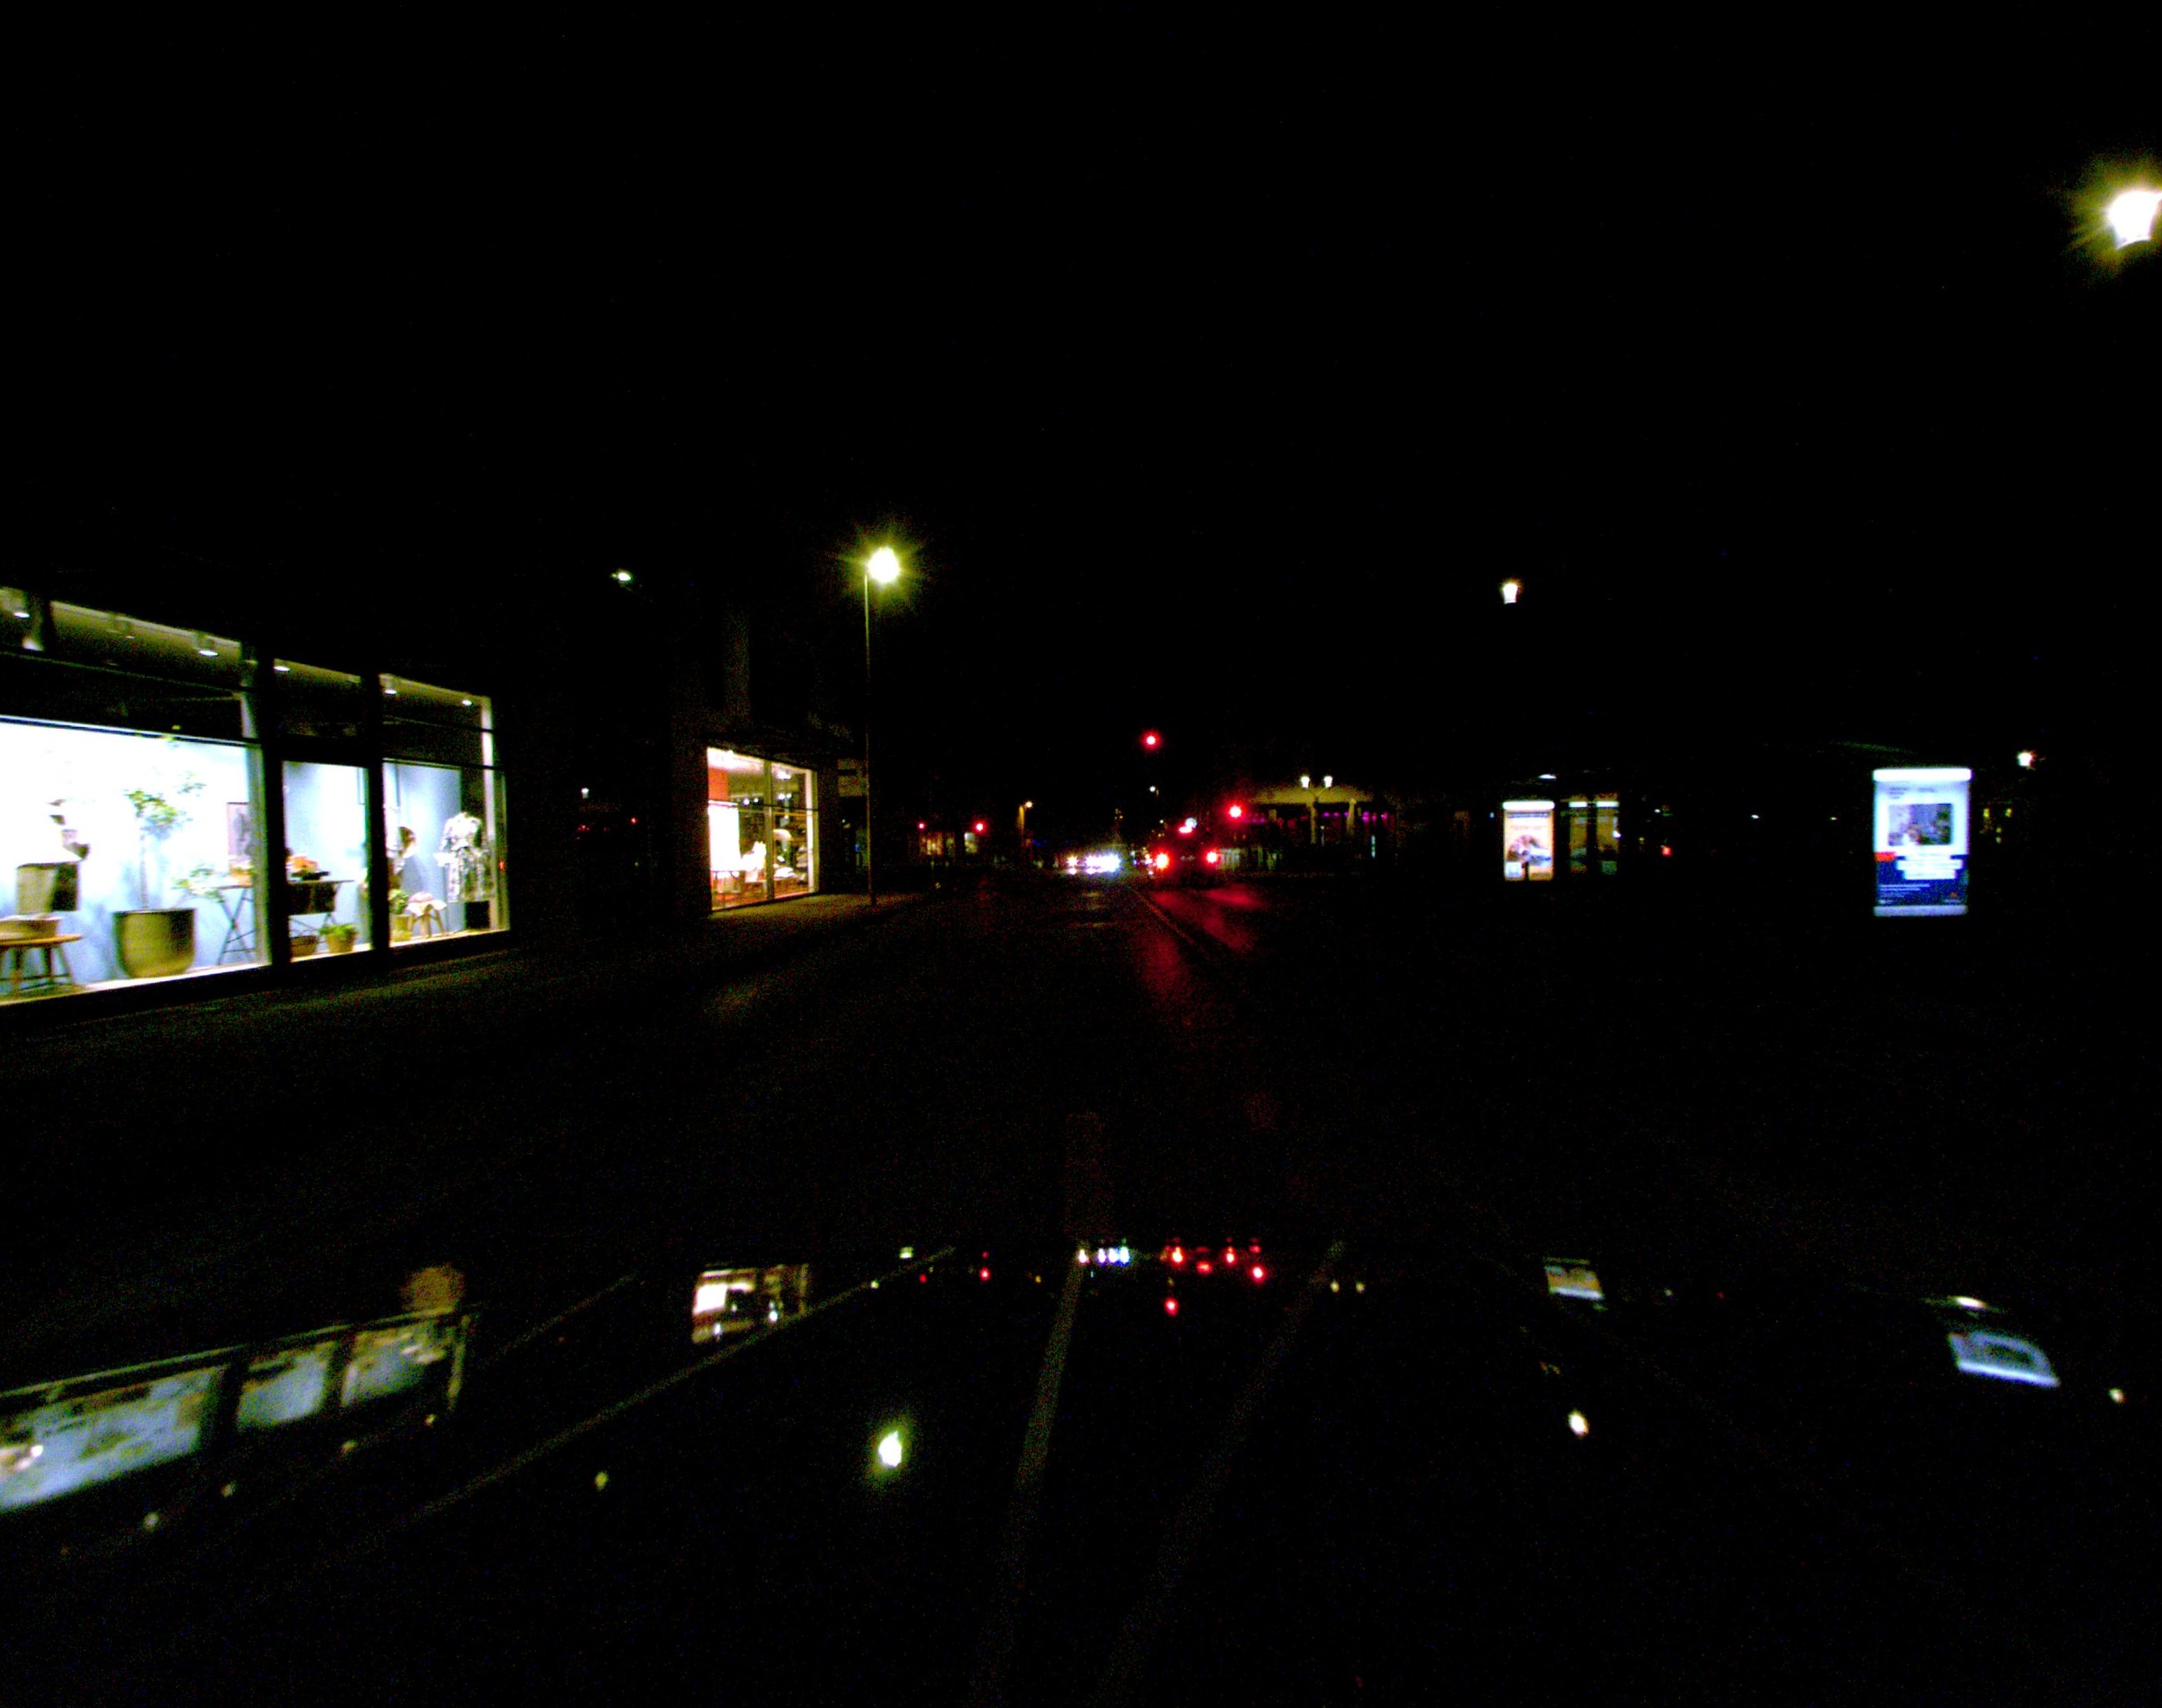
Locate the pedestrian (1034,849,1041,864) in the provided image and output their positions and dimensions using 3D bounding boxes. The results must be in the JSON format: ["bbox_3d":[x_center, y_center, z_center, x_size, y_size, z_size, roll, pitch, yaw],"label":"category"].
[{"bbox_3d":[-4.355,0.251,75.996,0.647,1.487,0.829,0,2,2],"label":"pedestrian"}]

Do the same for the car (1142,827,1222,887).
[{"bbox_3d":[3.374,0.052,26.267,1.972,1.861,4.910,-1,1,-2],"label":"car"}]

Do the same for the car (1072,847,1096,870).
[{"bbox_3d":[0.266,0.320,60.562,1.713,1.660,3.738,-2,1,3],"label":"car"}]

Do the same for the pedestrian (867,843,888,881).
[{"bbox_3d":[-9.151,0.351,34.206,0.539,1.672,0.648,-2,2,23],"label":"pedestrian"}]

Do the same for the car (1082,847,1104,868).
[{"bbox_3d":[1.051,0.276,67.627,1.879,1.718,3.999,-2,1,1],"label":"car"}]

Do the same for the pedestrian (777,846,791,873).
[{"bbox_3d":[-18.841,0.330,48.226,0.524,1.707,0.567,-2,2,6],"label":"pedestrian"}]

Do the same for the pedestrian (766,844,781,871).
[{"bbox_3d":[-19.484,0.223,48.140,0.567,1.707,0.567,-2,2,7],"label":"pedestrian"}]
